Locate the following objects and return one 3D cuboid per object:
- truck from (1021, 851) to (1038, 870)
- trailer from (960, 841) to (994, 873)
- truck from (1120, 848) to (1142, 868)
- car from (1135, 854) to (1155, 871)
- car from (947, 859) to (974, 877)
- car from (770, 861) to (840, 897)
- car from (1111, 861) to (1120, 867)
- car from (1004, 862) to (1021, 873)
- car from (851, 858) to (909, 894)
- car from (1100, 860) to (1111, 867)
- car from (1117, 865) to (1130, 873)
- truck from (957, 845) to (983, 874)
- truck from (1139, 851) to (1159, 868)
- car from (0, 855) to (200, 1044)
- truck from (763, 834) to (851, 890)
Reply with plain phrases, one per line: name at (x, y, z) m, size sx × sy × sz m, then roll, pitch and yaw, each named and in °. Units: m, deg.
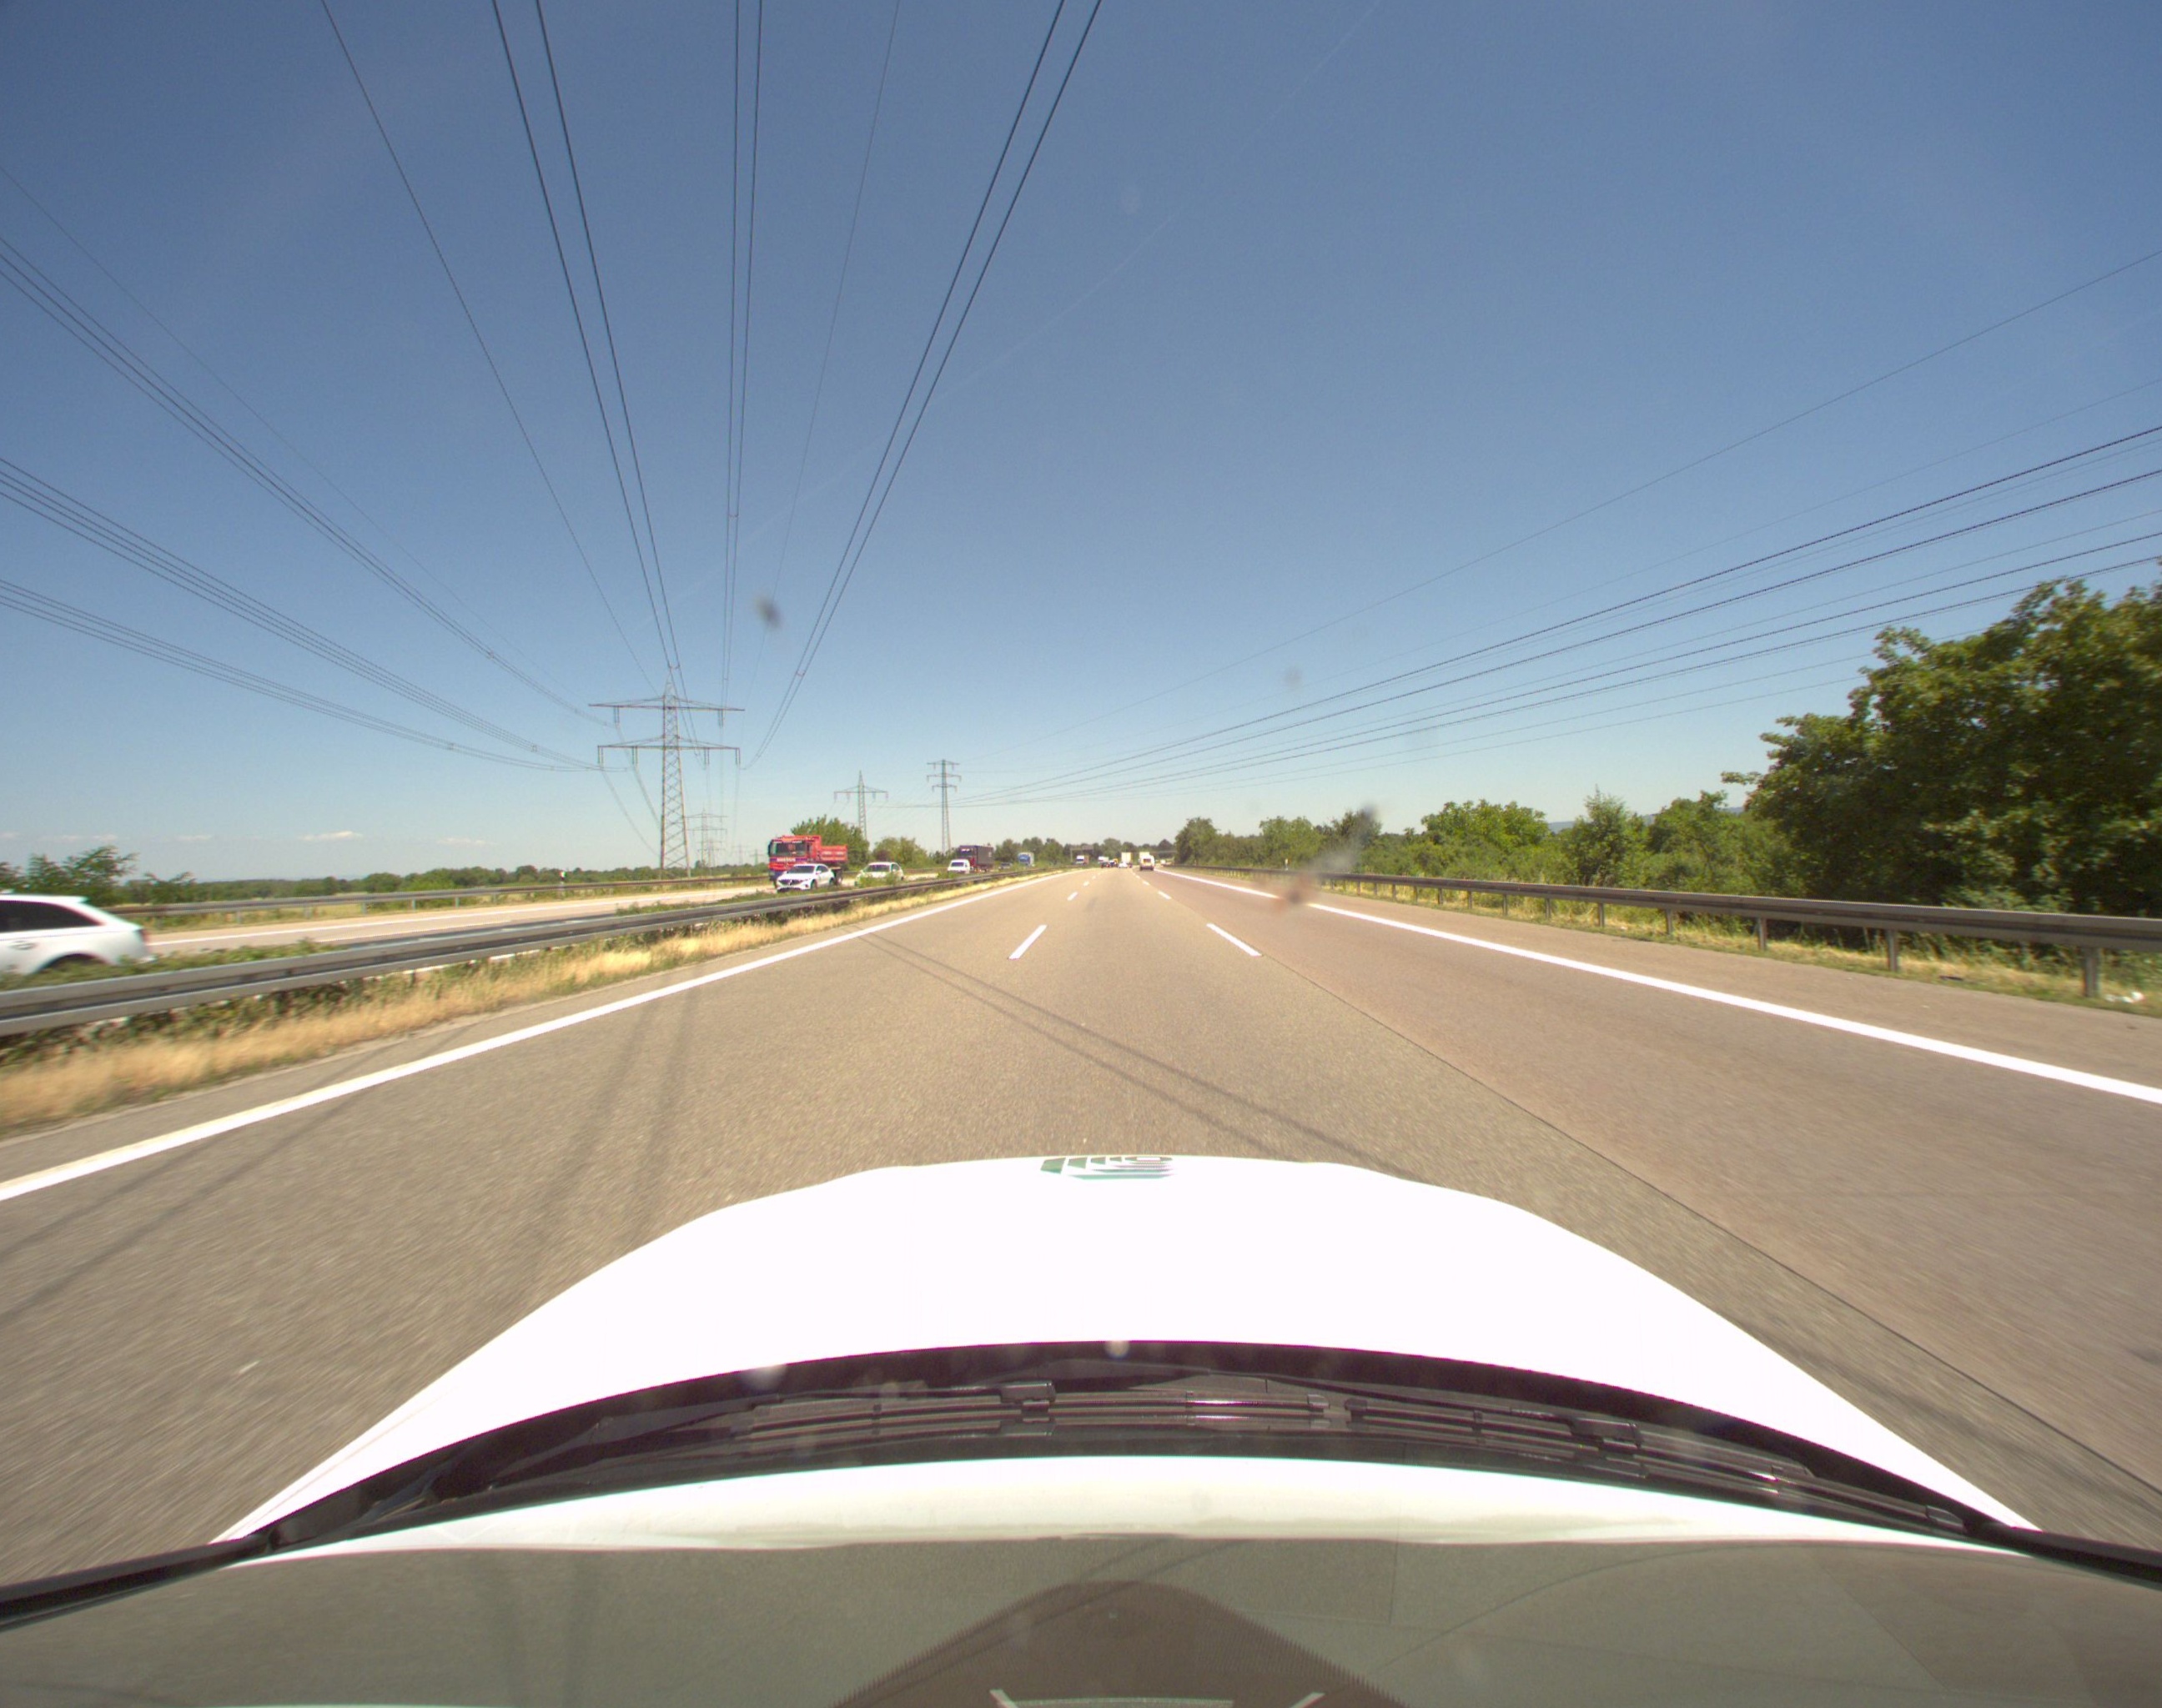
truck at (-10.973, 1.377, 174.605) m, size 2.443 × 3.976 × 9.677 m, roll -3°, pitch 0°, yaw 3°
trailer at (-15.393, 0.382, 121.748) m, size 2.638 × 4.552 × 13.874 m, roll 0°, pitch 0°, yaw 3°
truck at (13.532, 0.997, 219.160) m, size 3.642 × 5.018 × 16.069 m, roll 0°, pitch 0°, yaw 12°
car at (9.008, 1.150, 115.070) m, size 2.433 × 2.321 × 5.323 m, roll -2°, pitch 0°, yaw 1°
car at (-12.413, 1.407, 83.966) m, size 1.963 × 1.773 × 4.370 m, roll 0°, pitch 0°, yaw 2°
car at (-14.439, 1.278, 42.944) m, size 1.986 × 1.761 × 4.537 m, roll 0°, pitch 0°, yaw 2°
car at (9.557, 2.870, 226.734) m, size 1.816 × 1.547 × 4.333 m, roll 0°, pitch 0°, yaw 12°
car at (-10.441, 2.083, 123.905) m, size 1.936 × 1.618 × 5.021 m, roll 0°, pitch 0°, yaw 3°
car at (-11.153, 1.192, 45.545) m, size 1.986 × 1.853 × 4.537 m, roll 0°, pitch 0°, yaw 2°
car at (5.495, 2.072, 182.300) m, size 1.816 × 1.547 × 4.333 m, roll 0°, pitch 0°, yaw 12°
car at (9.105, 3.110, 172.649) m, size 1.814 × 1.547 × 4.337 m, roll 0°, pitch 0°, yaw 16°
truck at (-15.686, 0.692, 115.285) m, size 2.638 × 3.982 × 5.995 m, roll 0°, pitch 0°, yaw 2°
truck at (17.820, 1.451, 212.262) m, size 3.160 × 4.304 × 16.071 m, roll 0°, pitch 0°, yaw 12°
car at (-12.573, 1.027, 8.172) m, size 1.986 × 2.013 × 4.923 m, roll 0°, pitch 0°, yaw 2°
truck at (-18.326, 0.536, 55.112) m, size 2.759 × 3.527 × 8.537 m, roll 0°, pitch -1°, yaw 2°
